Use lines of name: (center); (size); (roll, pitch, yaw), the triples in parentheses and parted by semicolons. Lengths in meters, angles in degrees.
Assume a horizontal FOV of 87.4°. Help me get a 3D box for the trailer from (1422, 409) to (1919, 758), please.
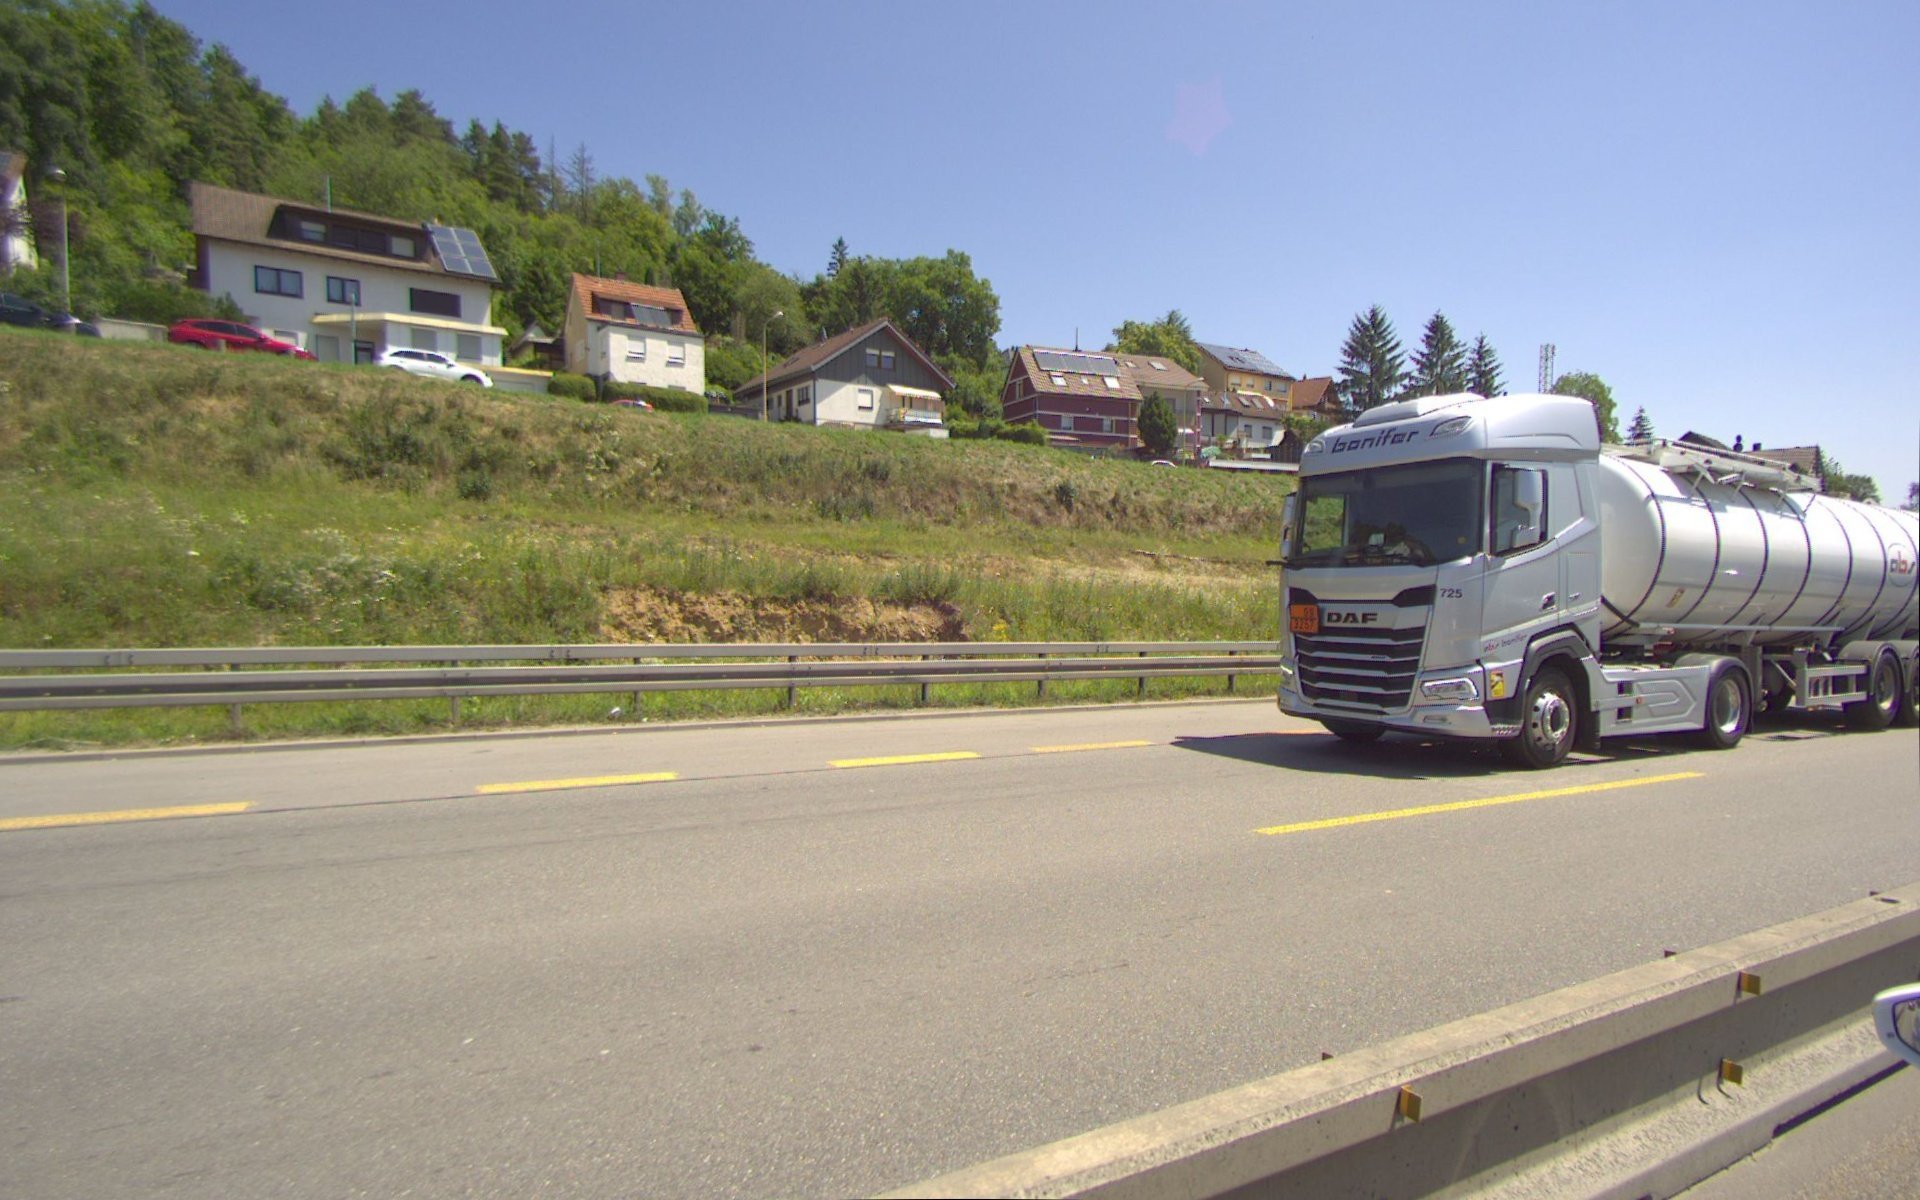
trailer: (11.620, -0.083, 14.640); (11.657, 3.642, 2.703); (1, 0, -31)

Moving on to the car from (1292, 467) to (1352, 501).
car: (27.549, -8.795, 76.429); (3.945, 2.040, 1.988); (3, 0, -25)

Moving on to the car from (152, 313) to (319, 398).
car: (-26.317, -8.848, 36.756); (4.751, 1.817, 2.334); (3, -1, -33)

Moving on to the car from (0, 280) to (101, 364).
car: (-30.685, -9.073, 32.096); (4.719, 1.817, 2.163); (3, -1, -37)

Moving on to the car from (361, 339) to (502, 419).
car: (-21.169, -8.768, 40.280); (4.767, 2.068, 2.334); (3, -1, -33)

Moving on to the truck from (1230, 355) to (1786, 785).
truck: (6.364, -0.216, 11.475); (6.204, 3.722, 2.765); (1, 0, -31)
